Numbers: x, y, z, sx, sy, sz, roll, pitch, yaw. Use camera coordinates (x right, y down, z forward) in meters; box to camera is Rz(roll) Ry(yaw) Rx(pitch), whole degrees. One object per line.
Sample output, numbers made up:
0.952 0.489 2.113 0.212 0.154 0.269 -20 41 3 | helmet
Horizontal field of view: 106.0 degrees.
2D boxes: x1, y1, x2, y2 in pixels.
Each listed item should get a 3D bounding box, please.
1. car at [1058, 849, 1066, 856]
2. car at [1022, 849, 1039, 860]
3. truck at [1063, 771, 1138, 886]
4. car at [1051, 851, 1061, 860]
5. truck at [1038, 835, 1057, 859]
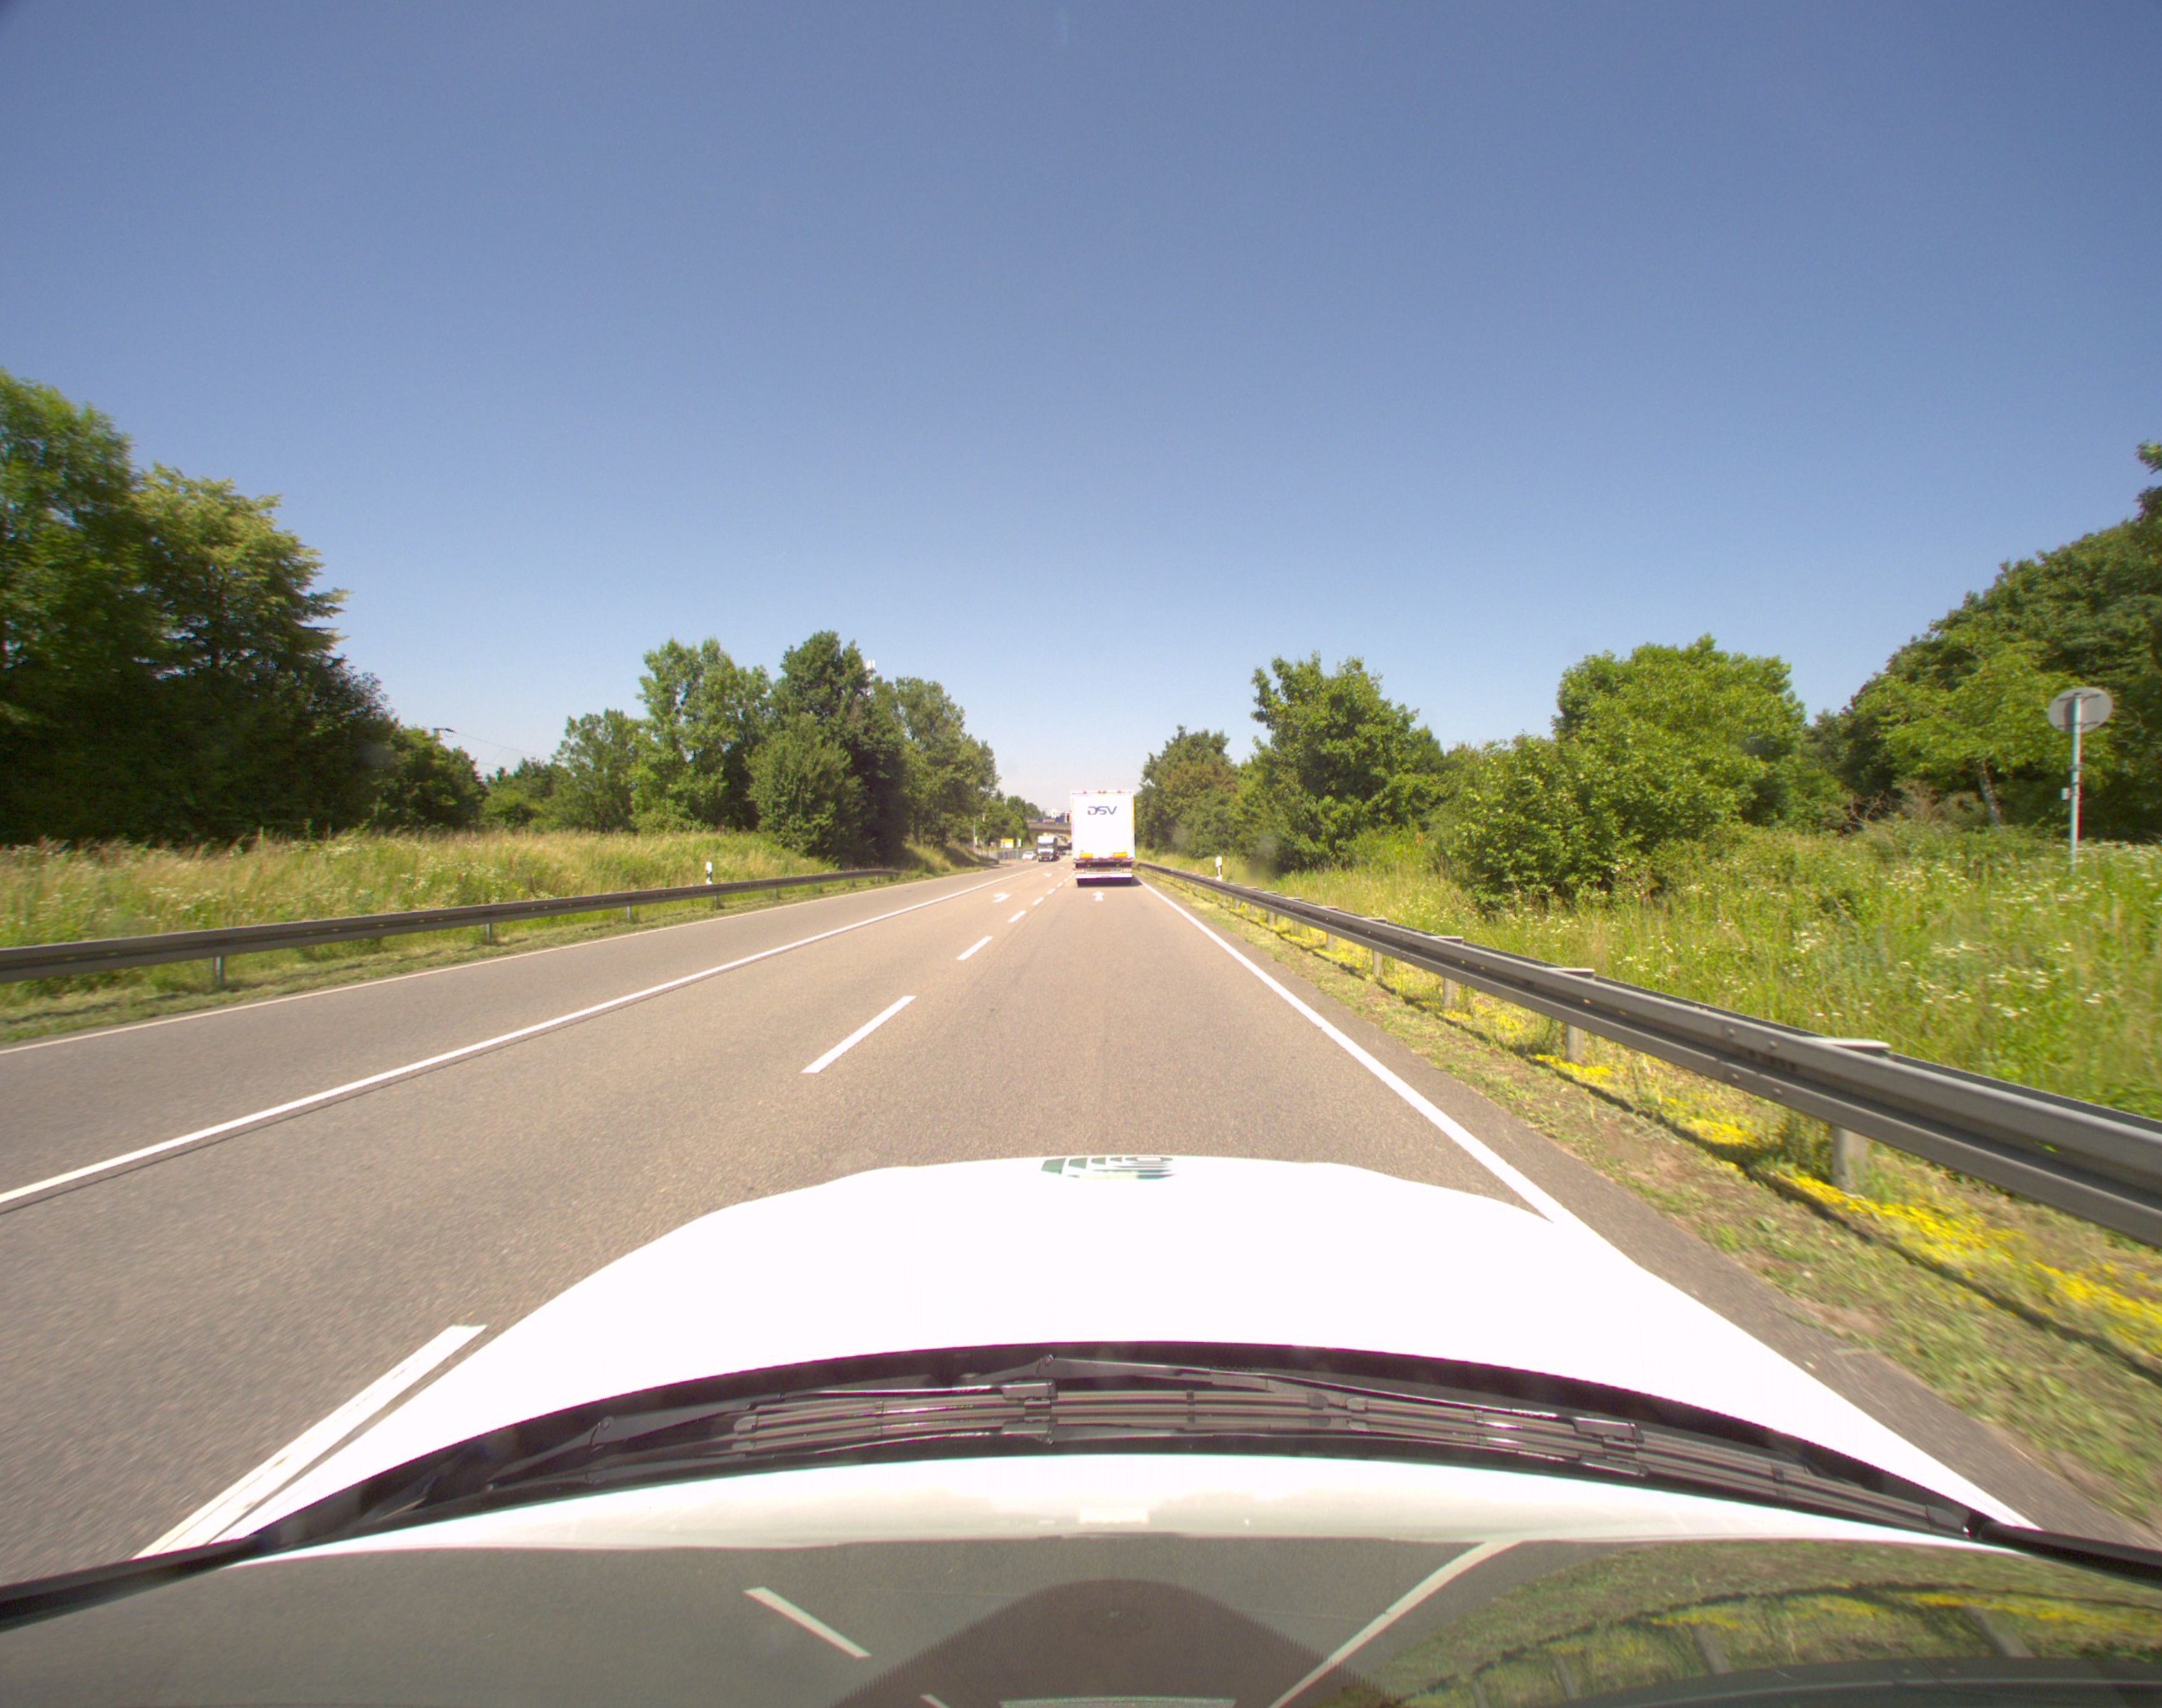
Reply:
-4.648 -0.338 195.118 1.741 1.626 3.703 -1 1 0 | car
-9.031 -0.006 145.320 1.790 1.872 4.434 -1 1 12 | car
0.990 -1.027 37.686 2.938 4.568 9.868 -1 0 2 | truck
-4.650 0.261 151.672 1.741 1.626 3.703 -1 1 0 | car
-5.514 -1.129 133.907 2.345 3.749 12.627 -1 1 1 | truck
